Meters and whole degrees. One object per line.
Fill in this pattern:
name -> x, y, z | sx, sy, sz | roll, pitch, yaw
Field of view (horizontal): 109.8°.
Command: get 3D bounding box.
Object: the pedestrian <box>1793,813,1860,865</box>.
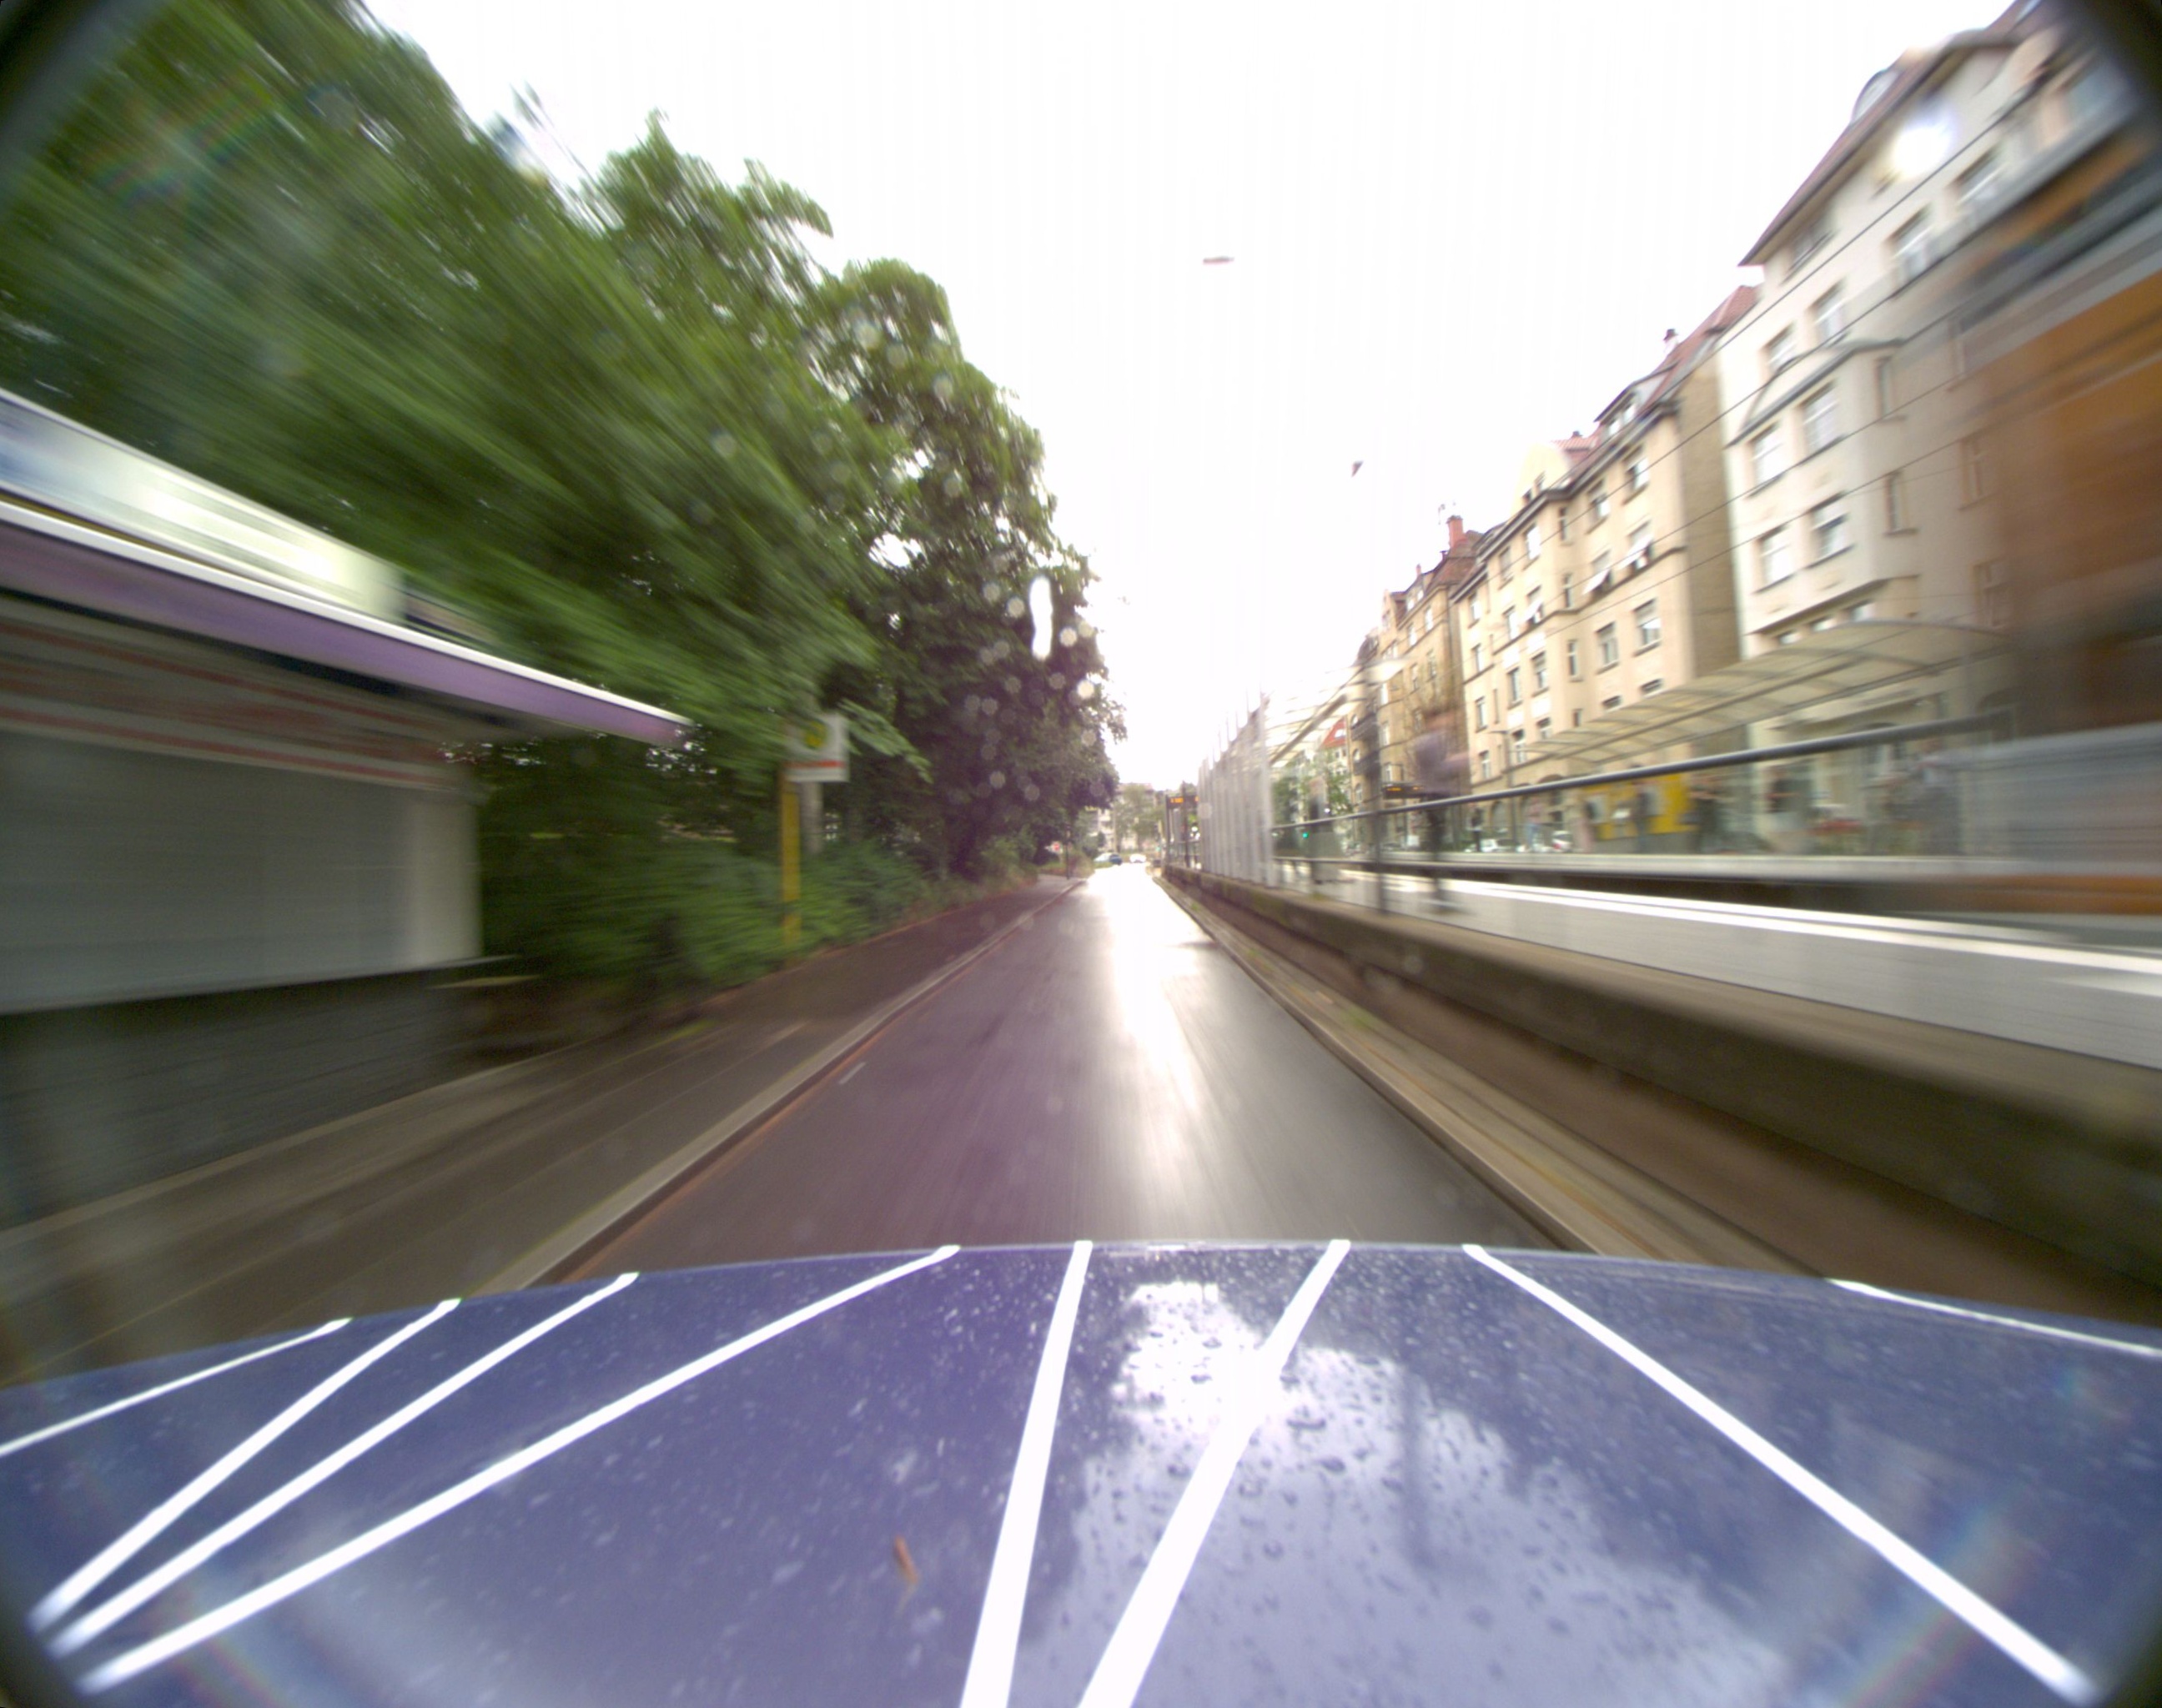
pedestrian -> 12.838, -0.251, 13.093 | 0.551, 0.867, 0.614 | 0, 1, 3

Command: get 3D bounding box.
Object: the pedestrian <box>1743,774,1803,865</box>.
pedestrian -> 12.949, -0.636, 14.238 | 0.551, 1.656, 0.614 | 0, 1, 3

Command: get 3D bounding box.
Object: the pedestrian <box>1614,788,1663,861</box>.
pedestrian -> 12.996, -0.671, 17.719 | 0.595, 1.656, 0.762 | 0, 1, 3

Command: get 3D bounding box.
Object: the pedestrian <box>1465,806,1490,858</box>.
pedestrian -> 14.160, -0.791, 27.169 | 0.517, 1.827, 0.762 | 0, 1, 3

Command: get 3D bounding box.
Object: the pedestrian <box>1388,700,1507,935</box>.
pedestrian -> 2.978, -0.283, 6.231 | 0.591, 1.797, 0.661 | -3, 1, 2

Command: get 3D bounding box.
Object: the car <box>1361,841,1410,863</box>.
car -> 21.752, -0.123, 54.478 | 1.721, 1.434, 4.869 | -2, 0, 3

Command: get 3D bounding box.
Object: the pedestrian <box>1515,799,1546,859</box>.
pedestrian -> 13.978, -0.755, 23.632 | 0.517, 1.827, 0.762 | 0, 1, 3

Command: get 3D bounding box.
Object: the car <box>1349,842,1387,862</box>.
car -> 22.374, -0.178, 59.398 | 1.634, 1.434, 4.176 | -2, 0, 4

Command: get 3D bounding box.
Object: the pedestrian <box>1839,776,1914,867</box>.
pedestrian -> 12.747, -0.510, 12.193 | 0.551, 1.405, 0.614 | 0, 1, 3

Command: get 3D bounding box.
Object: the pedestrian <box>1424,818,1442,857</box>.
pedestrian -> 14.568, -0.683, 31.455 | 0.517, 1.596, 0.563 | 0, 1, 3

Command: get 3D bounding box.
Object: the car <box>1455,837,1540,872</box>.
car -> 20.833, -0.032, 38.267 | 1.998, 1.524, 4.533 | -4, 1, 4

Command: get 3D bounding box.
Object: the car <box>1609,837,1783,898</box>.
car -> 19.227, 0.331, 24.102 | 1.997, 1.722, 4.815 | -1, 1, 6

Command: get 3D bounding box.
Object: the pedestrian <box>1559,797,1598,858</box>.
pedestrian -> 13.810, -0.731, 21.100 | 0.595, 1.656, 0.762 | 0, 1, 3

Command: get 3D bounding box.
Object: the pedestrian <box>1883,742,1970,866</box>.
pedestrian -> 12.185, -0.707, 10.969 | 0.551, 1.731, 0.614 | 0, 1, 3

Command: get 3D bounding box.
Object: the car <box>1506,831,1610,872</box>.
car -> 20.333, -0.083, 32.654 | 1.927, 1.613, 4.537 | -1, 0, 5

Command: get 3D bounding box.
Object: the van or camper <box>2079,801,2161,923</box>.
van or camper -> 18.629, 0.108, 11.452 | 1.998, 2.002, 4.001 | -1, 0, 3

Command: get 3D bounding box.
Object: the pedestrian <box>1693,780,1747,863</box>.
pedestrian -> 12.913, -0.647, 15.370 | 0.595, 1.656, 0.591 | 0, 1, 3

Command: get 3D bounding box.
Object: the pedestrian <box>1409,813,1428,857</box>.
pedestrian -> 14.243, -0.808, 32.050 | 0.562, 1.839, 0.599 | 0, 1, 3
